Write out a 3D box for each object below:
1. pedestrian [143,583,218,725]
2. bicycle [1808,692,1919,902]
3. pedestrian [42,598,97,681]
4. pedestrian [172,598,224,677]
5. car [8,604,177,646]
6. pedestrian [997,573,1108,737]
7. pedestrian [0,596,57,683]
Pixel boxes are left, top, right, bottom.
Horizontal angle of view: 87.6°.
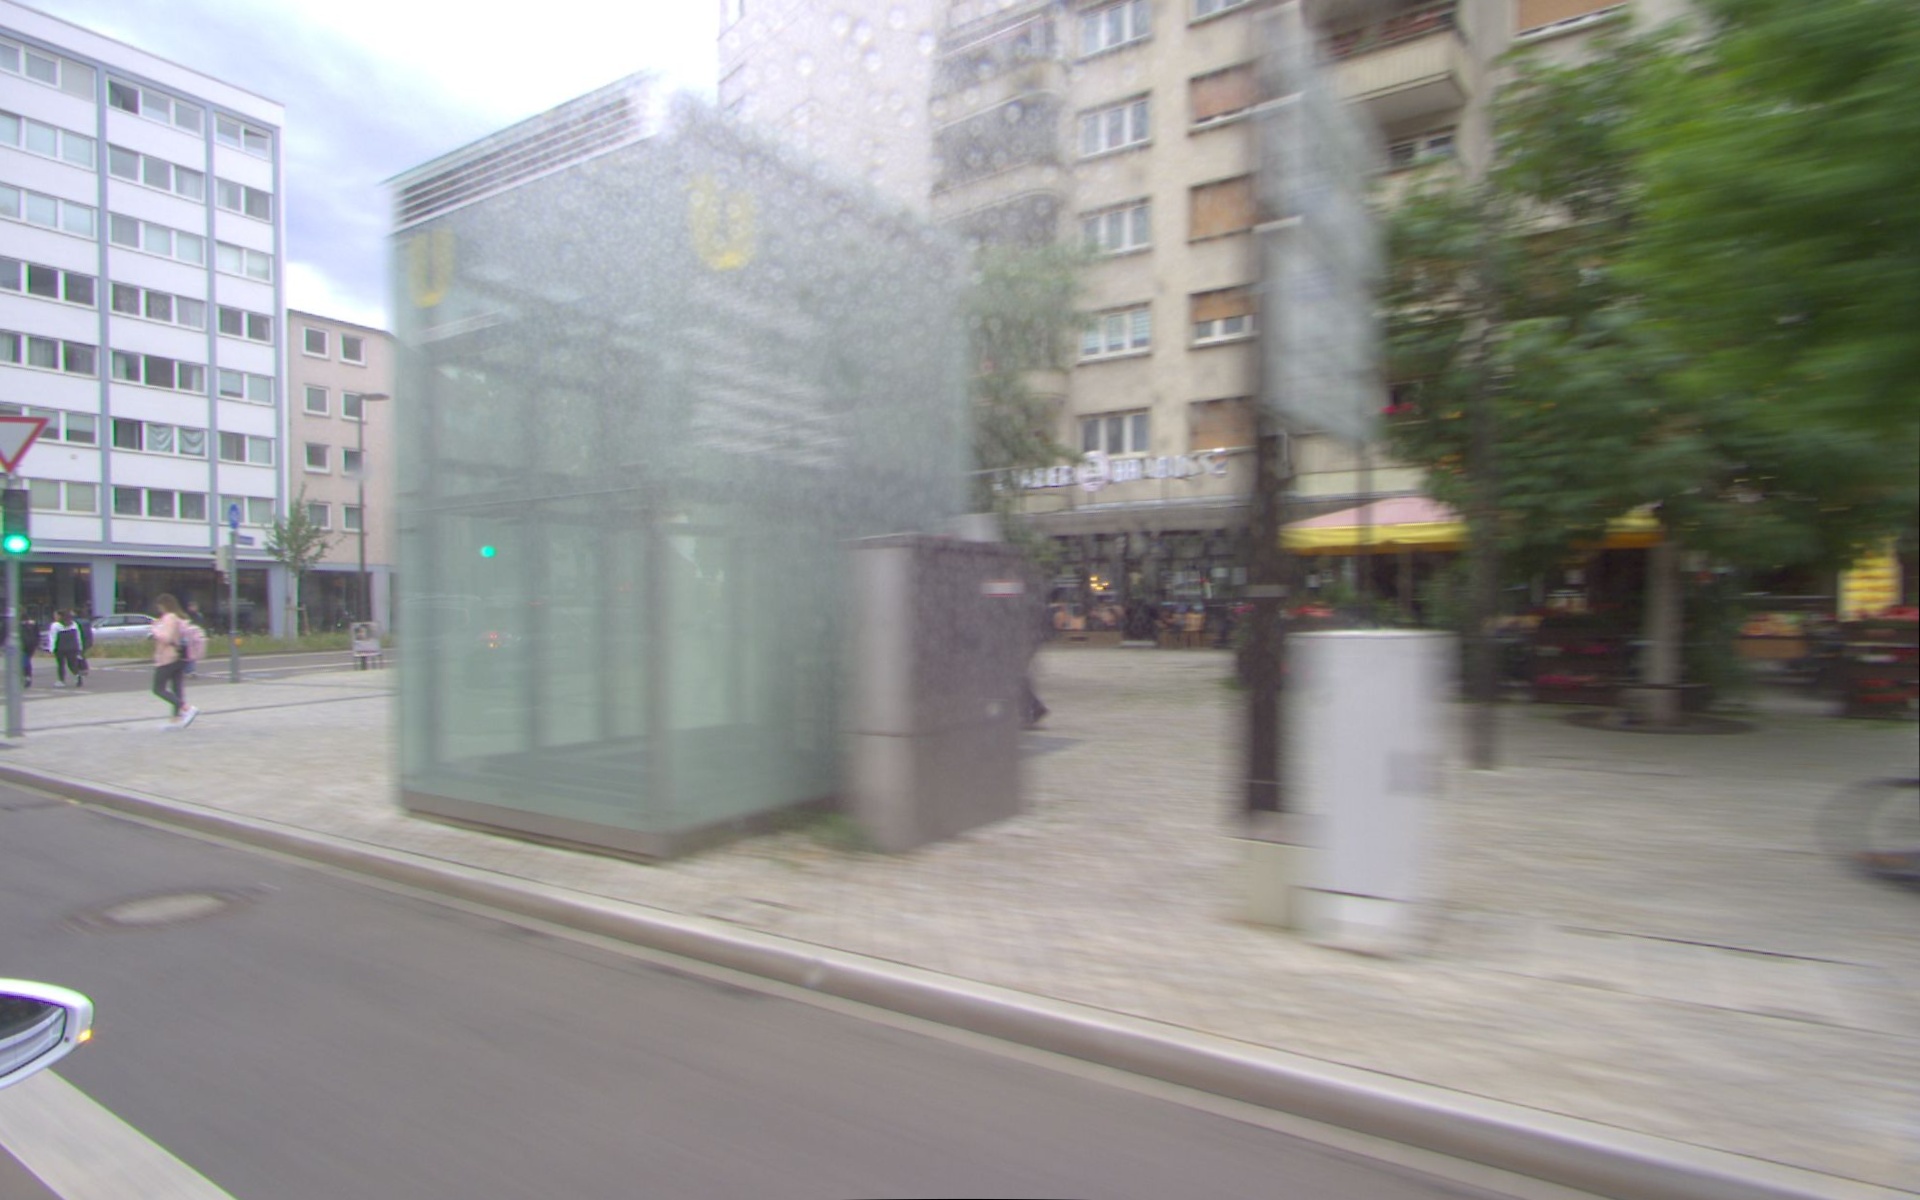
[{"bbox_3d":[-10.030,0.682,12.887,0.592,1.784,0.522,1,-1,25],"label":"pedestrian"},{"bbox_3d":[5.298,1.020,4.818,0.650,0.991,1.746,0,0,-29],"label":"bicycle"},{"bbox_3d":[-19.447,0.858,21.865,0.767,1.784,0.621,1,-1,25],"label":"pedestrian"},{"bbox_3d":[-18.800,0.896,24.698,1.140,1.888,0.798,0,2,43],"label":"pedestrian"},{"bbox_3d":[-32.811,0.904,38.024,1.722,1.501,4.545,0,0,30],"label":"car"},{"bbox_3d":[1.092,0.610,11.753,1.062,1.827,0.711,0,3,32],"label":"pedestrian"},{"bbox_3d":[-19.657,0.824,21.123,0.767,1.784,0.621,1,-1,25],"label":"pedestrian"}]
